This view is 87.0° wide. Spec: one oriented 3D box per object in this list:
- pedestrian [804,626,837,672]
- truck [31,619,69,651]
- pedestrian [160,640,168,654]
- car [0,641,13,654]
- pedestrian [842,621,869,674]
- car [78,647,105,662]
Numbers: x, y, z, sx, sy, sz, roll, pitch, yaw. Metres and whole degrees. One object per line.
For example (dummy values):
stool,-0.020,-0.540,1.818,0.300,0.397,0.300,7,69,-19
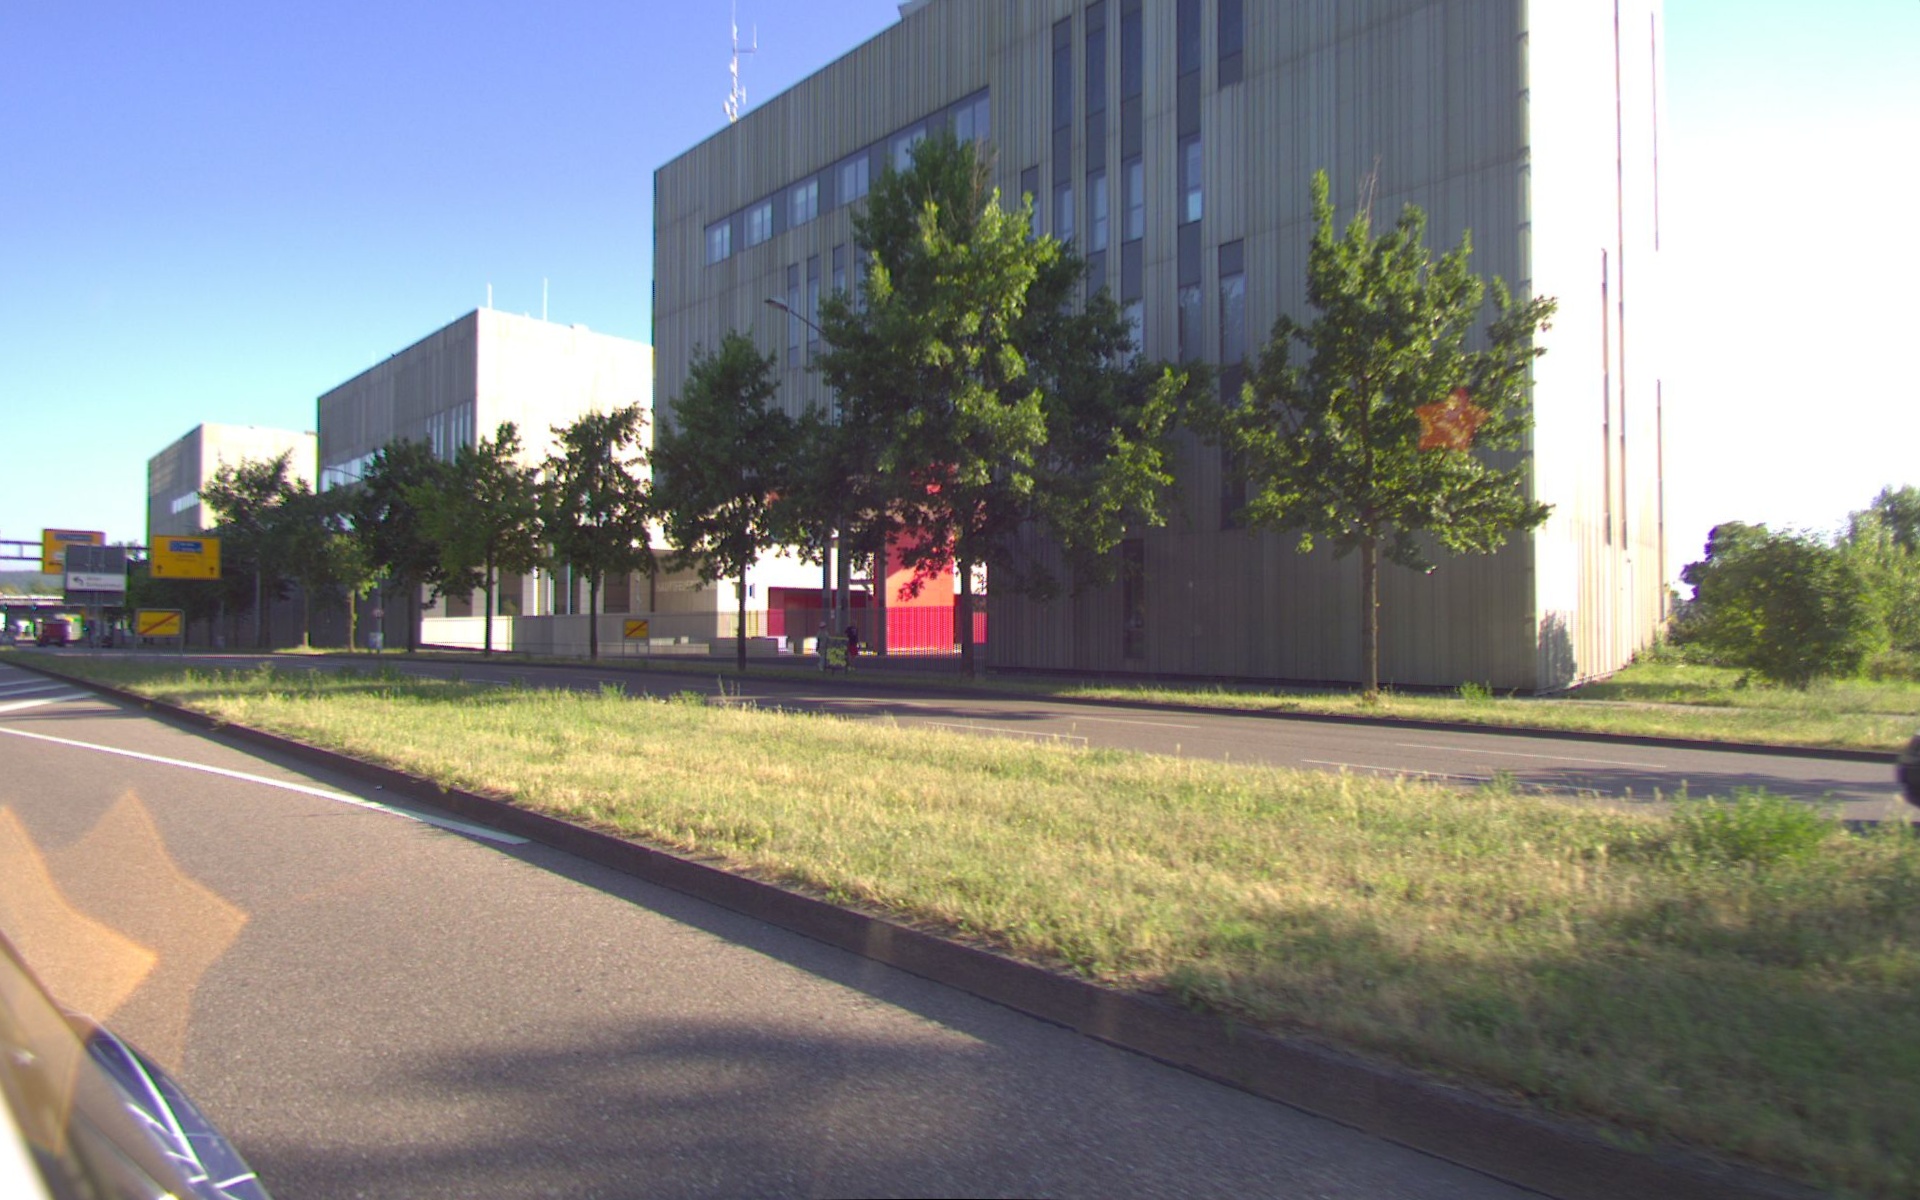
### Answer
pedestrian,-4.968,1.737,36.051,0.910,1.614,0.767,-2,-3,45
truck,-113.799,4.406,126.481,2.964,3.840,10.095,1,-3,-45
pedestrian,-95.050,5.633,120.866,0.725,1.641,0.689,-3,-3,44
car,-133.937,6.679,141.546,1.971,1.830,4.403,3,-4,-45
pedestrian,-3.725,1.698,36.136,0.717,1.855,0.625,-2,-3,45
car,-97.035,6.070,113.041,3.862,1.524,1.580,-2,-2,38
